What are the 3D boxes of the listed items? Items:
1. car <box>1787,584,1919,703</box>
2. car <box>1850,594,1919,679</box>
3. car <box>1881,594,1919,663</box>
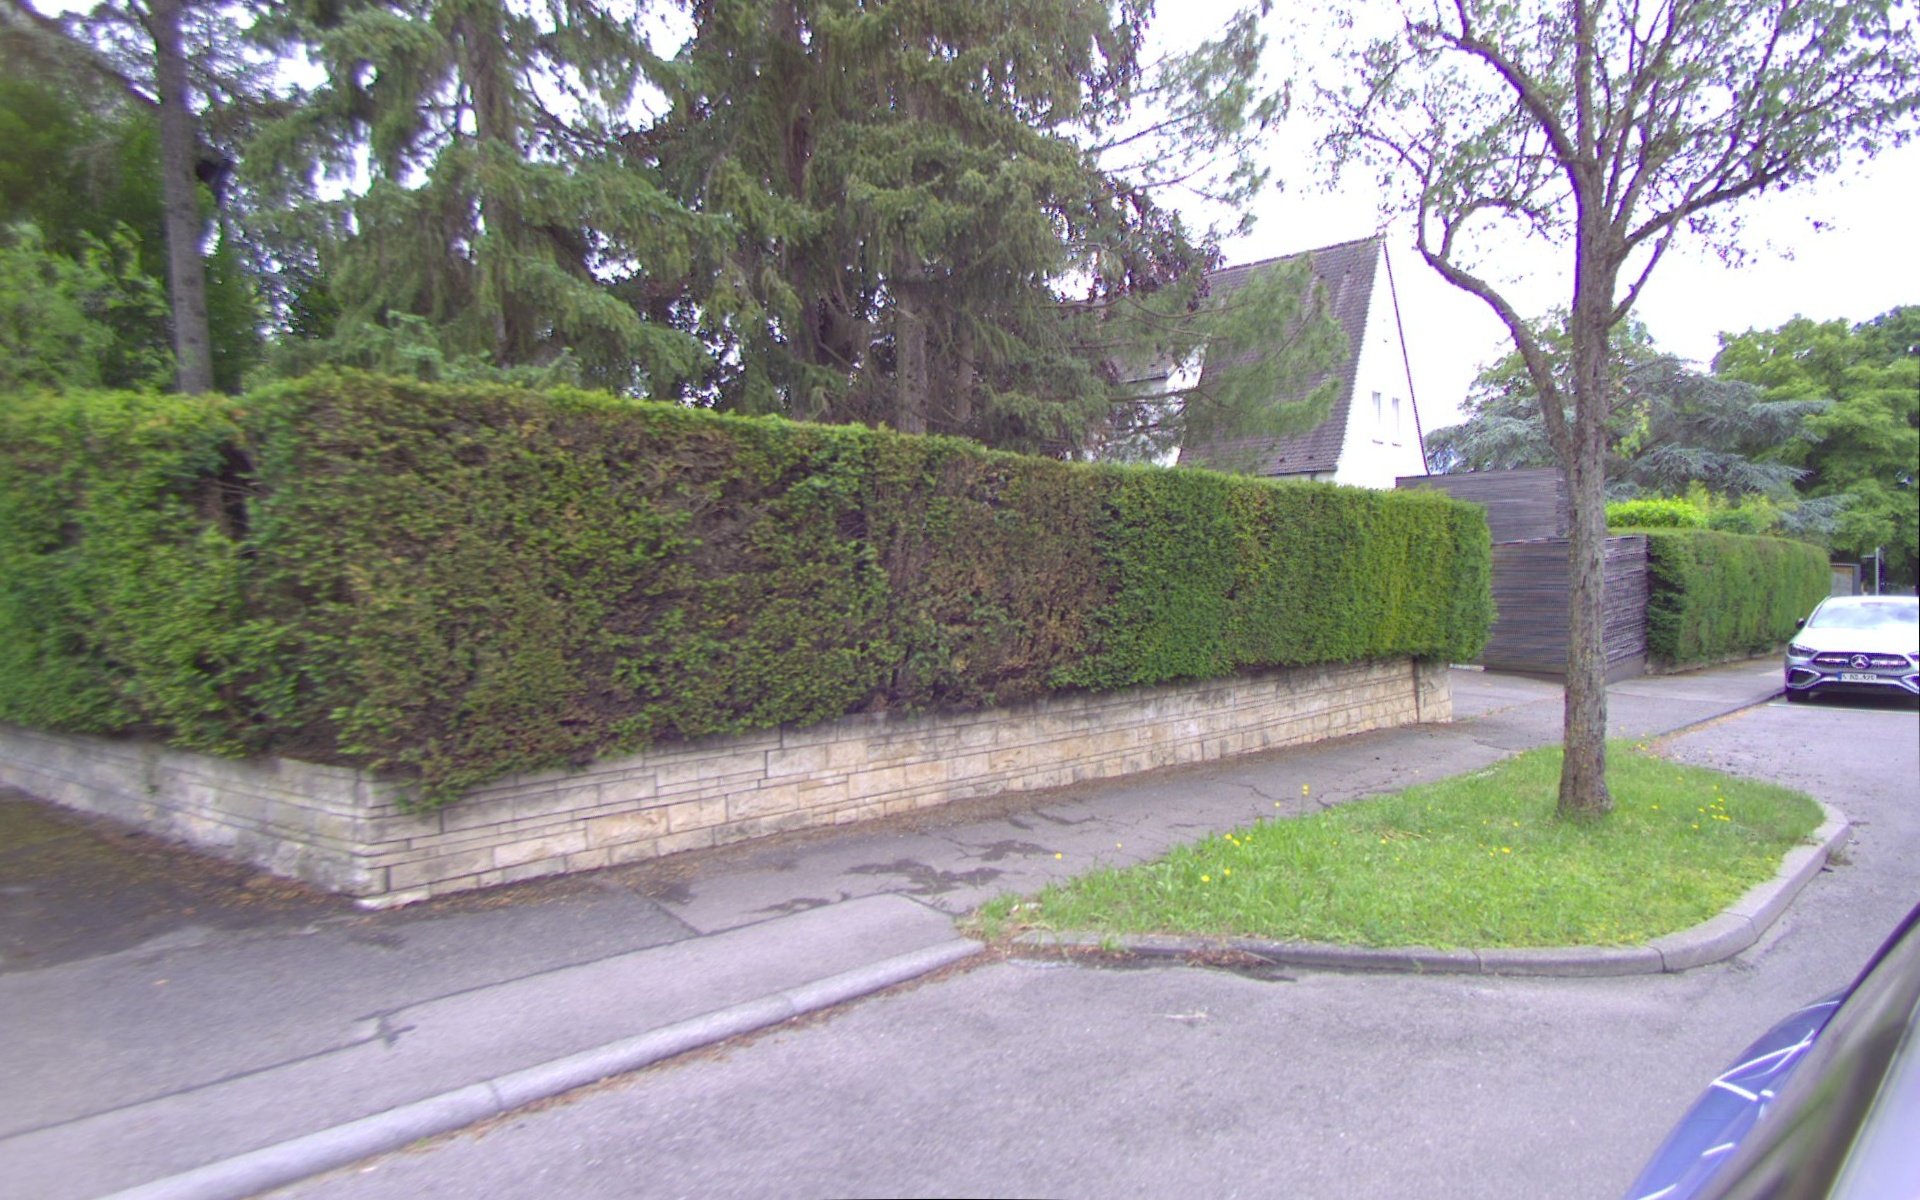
[{"bbox_3d":[14.154,0.573,15.460,4.102,1.602,1.856,-1,0,-44],"label":"car"},{"bbox_3d":[18.367,0.635,19.226,4.102,1.482,1.856,-1,0,-44],"label":"car"},{"bbox_3d":[22.589,0.615,23.247,3.933,1.482,1.856,-1,0,-44],"label":"car"}]
